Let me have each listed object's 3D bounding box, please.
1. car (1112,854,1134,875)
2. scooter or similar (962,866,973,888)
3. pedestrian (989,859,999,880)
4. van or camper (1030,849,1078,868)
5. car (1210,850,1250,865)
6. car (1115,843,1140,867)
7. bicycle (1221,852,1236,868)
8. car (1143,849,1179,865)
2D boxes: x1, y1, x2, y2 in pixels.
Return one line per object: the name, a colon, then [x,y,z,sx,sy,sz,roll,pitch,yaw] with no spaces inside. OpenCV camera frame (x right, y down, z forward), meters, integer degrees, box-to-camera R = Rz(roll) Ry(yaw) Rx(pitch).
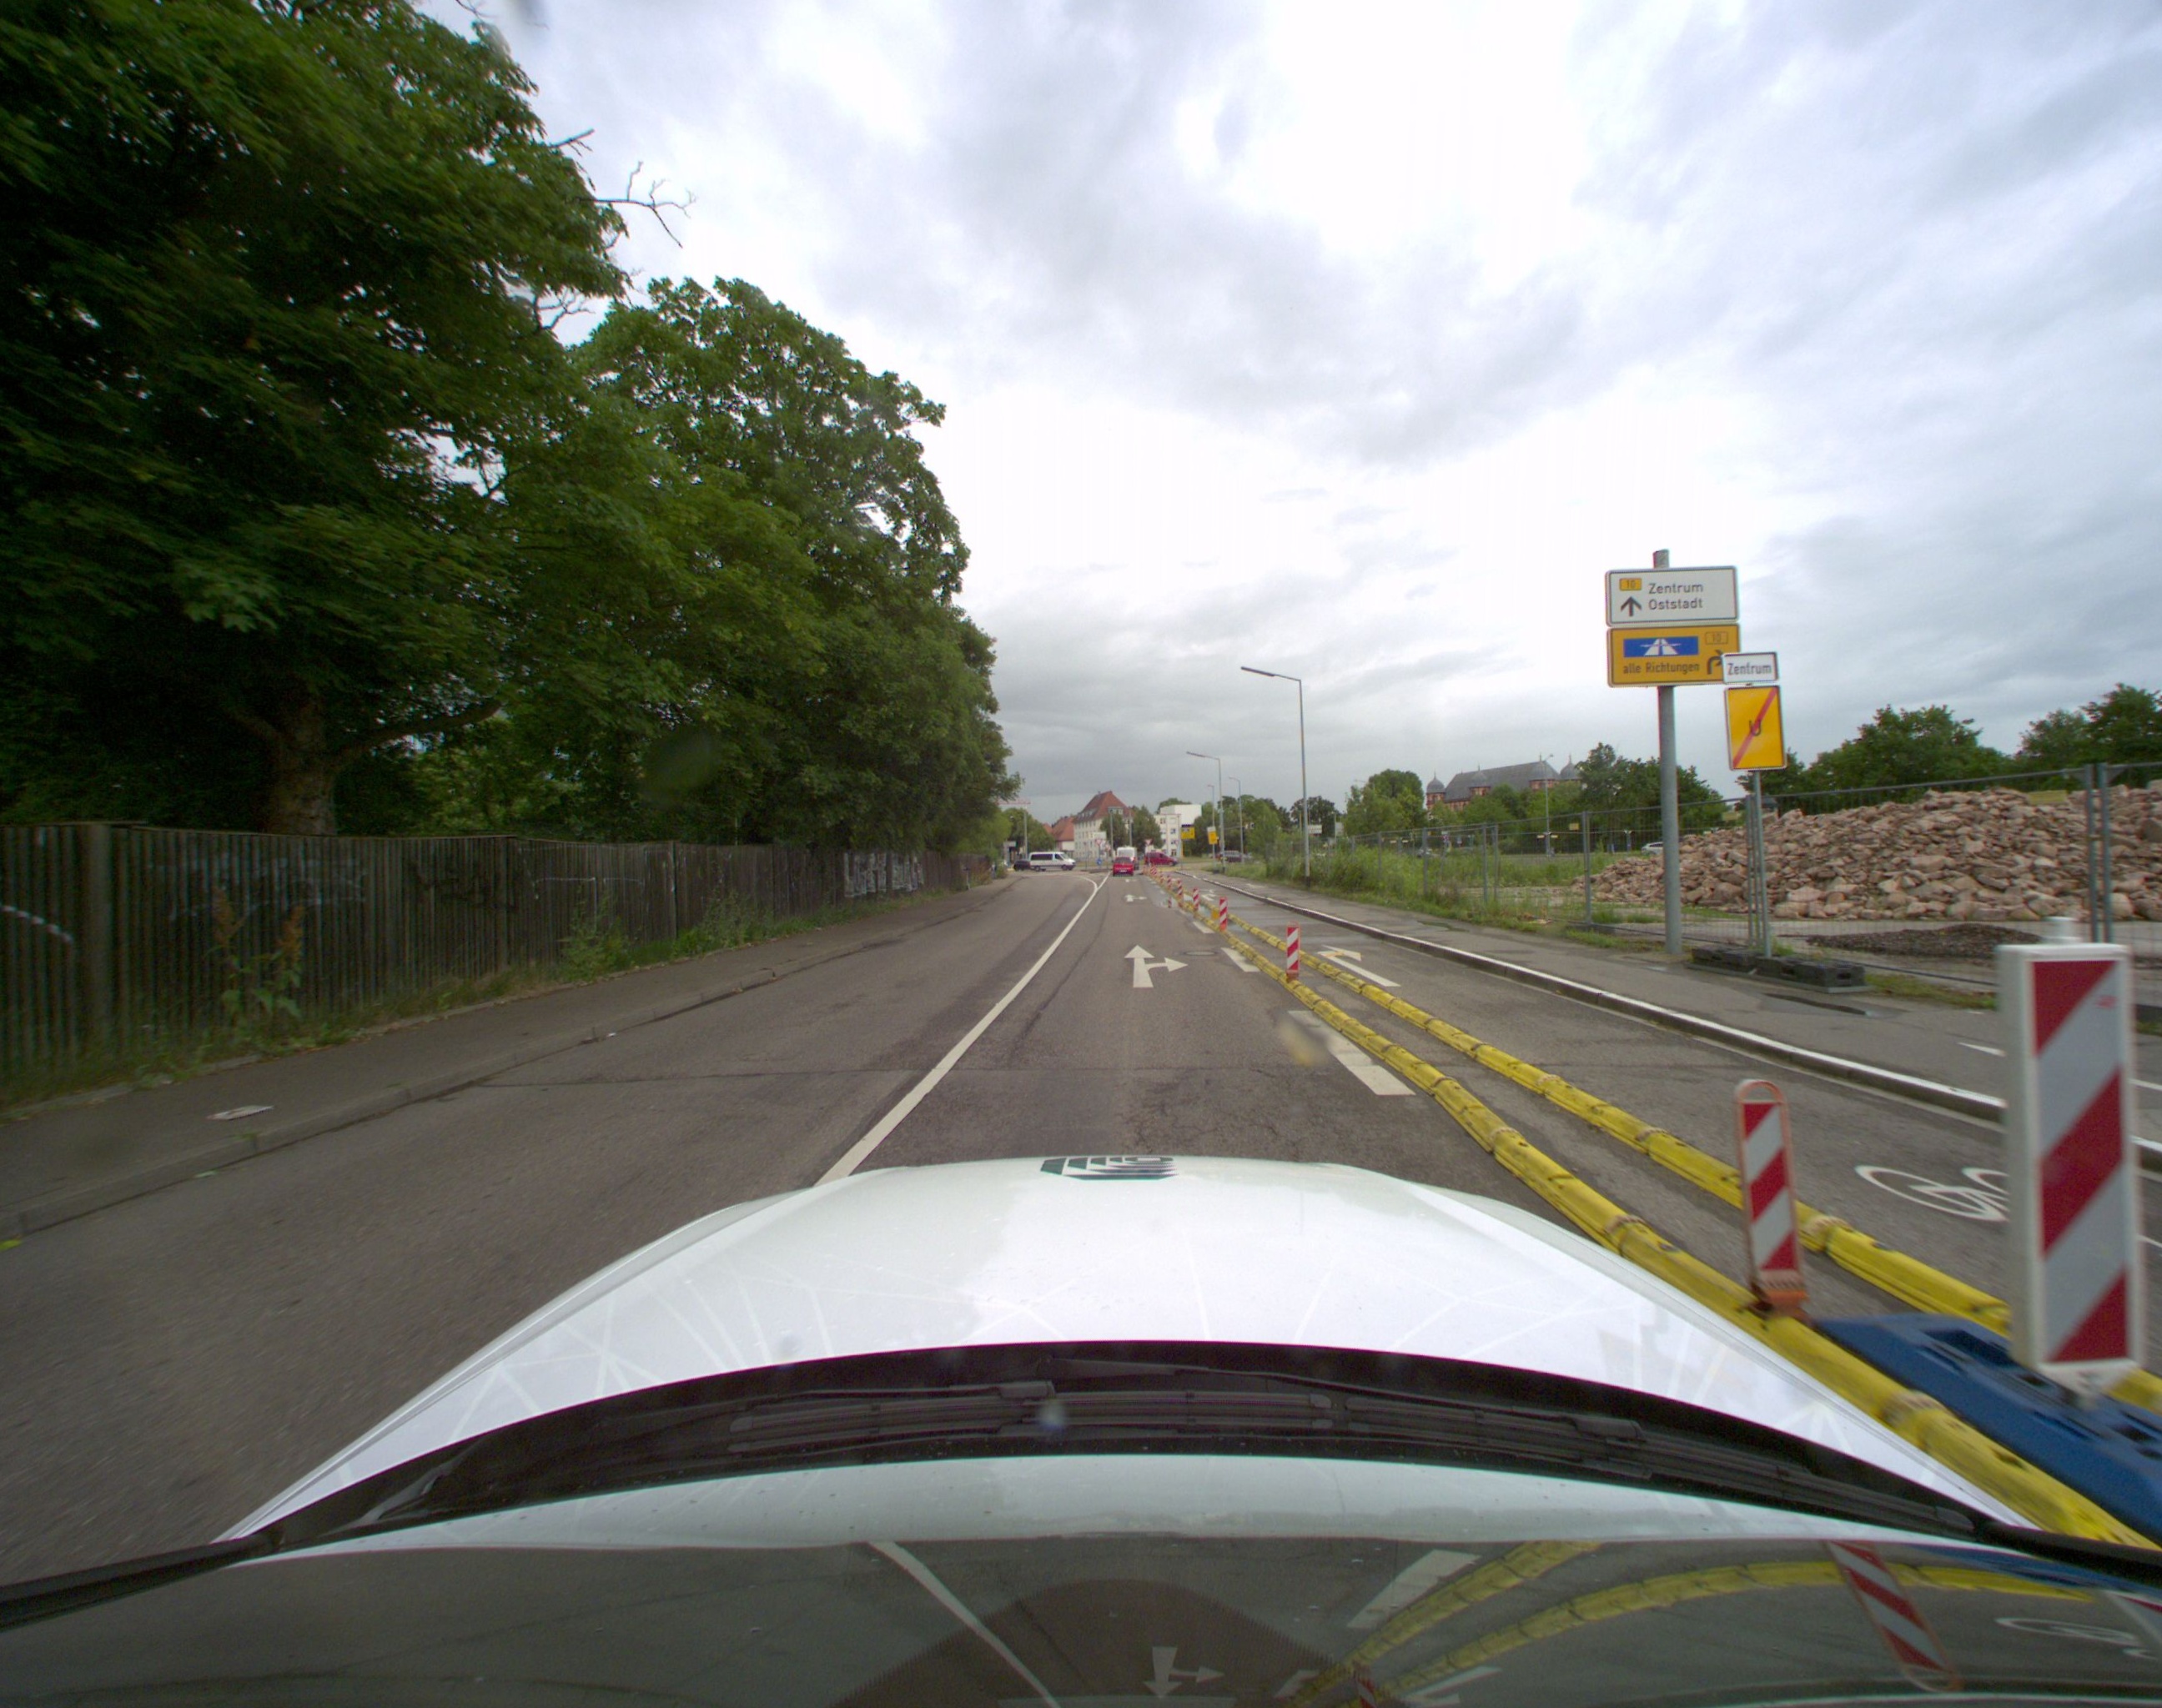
car: [3.445,0.802,66.520,1.666,1.640,3.630,-1,0,3]
scooter or similar: [-6.112,1.227,44.024,0.421,1.170,1.302,-2,0,-2]
pedestrian: [-6.369,1.142,59.681,0.610,1.529,0.723,-2,0,-2]
van or camper: [-3.361,0.598,100.792,5.488,2.115,2.010,-2,0,19]
car: [19.129,0.483,104.814,2.128,1.795,4.551,-2,0,-45]
car: [5.152,0.114,90.117,2.182,2.540,4.975,-1,0,9]
bicycle: [15.469,0.607,85.366,1.470,1.612,0.607,-2,0,6]
car: [10.098,0.396,102.878,4.165,1.917,2.123,-2,0,13]
